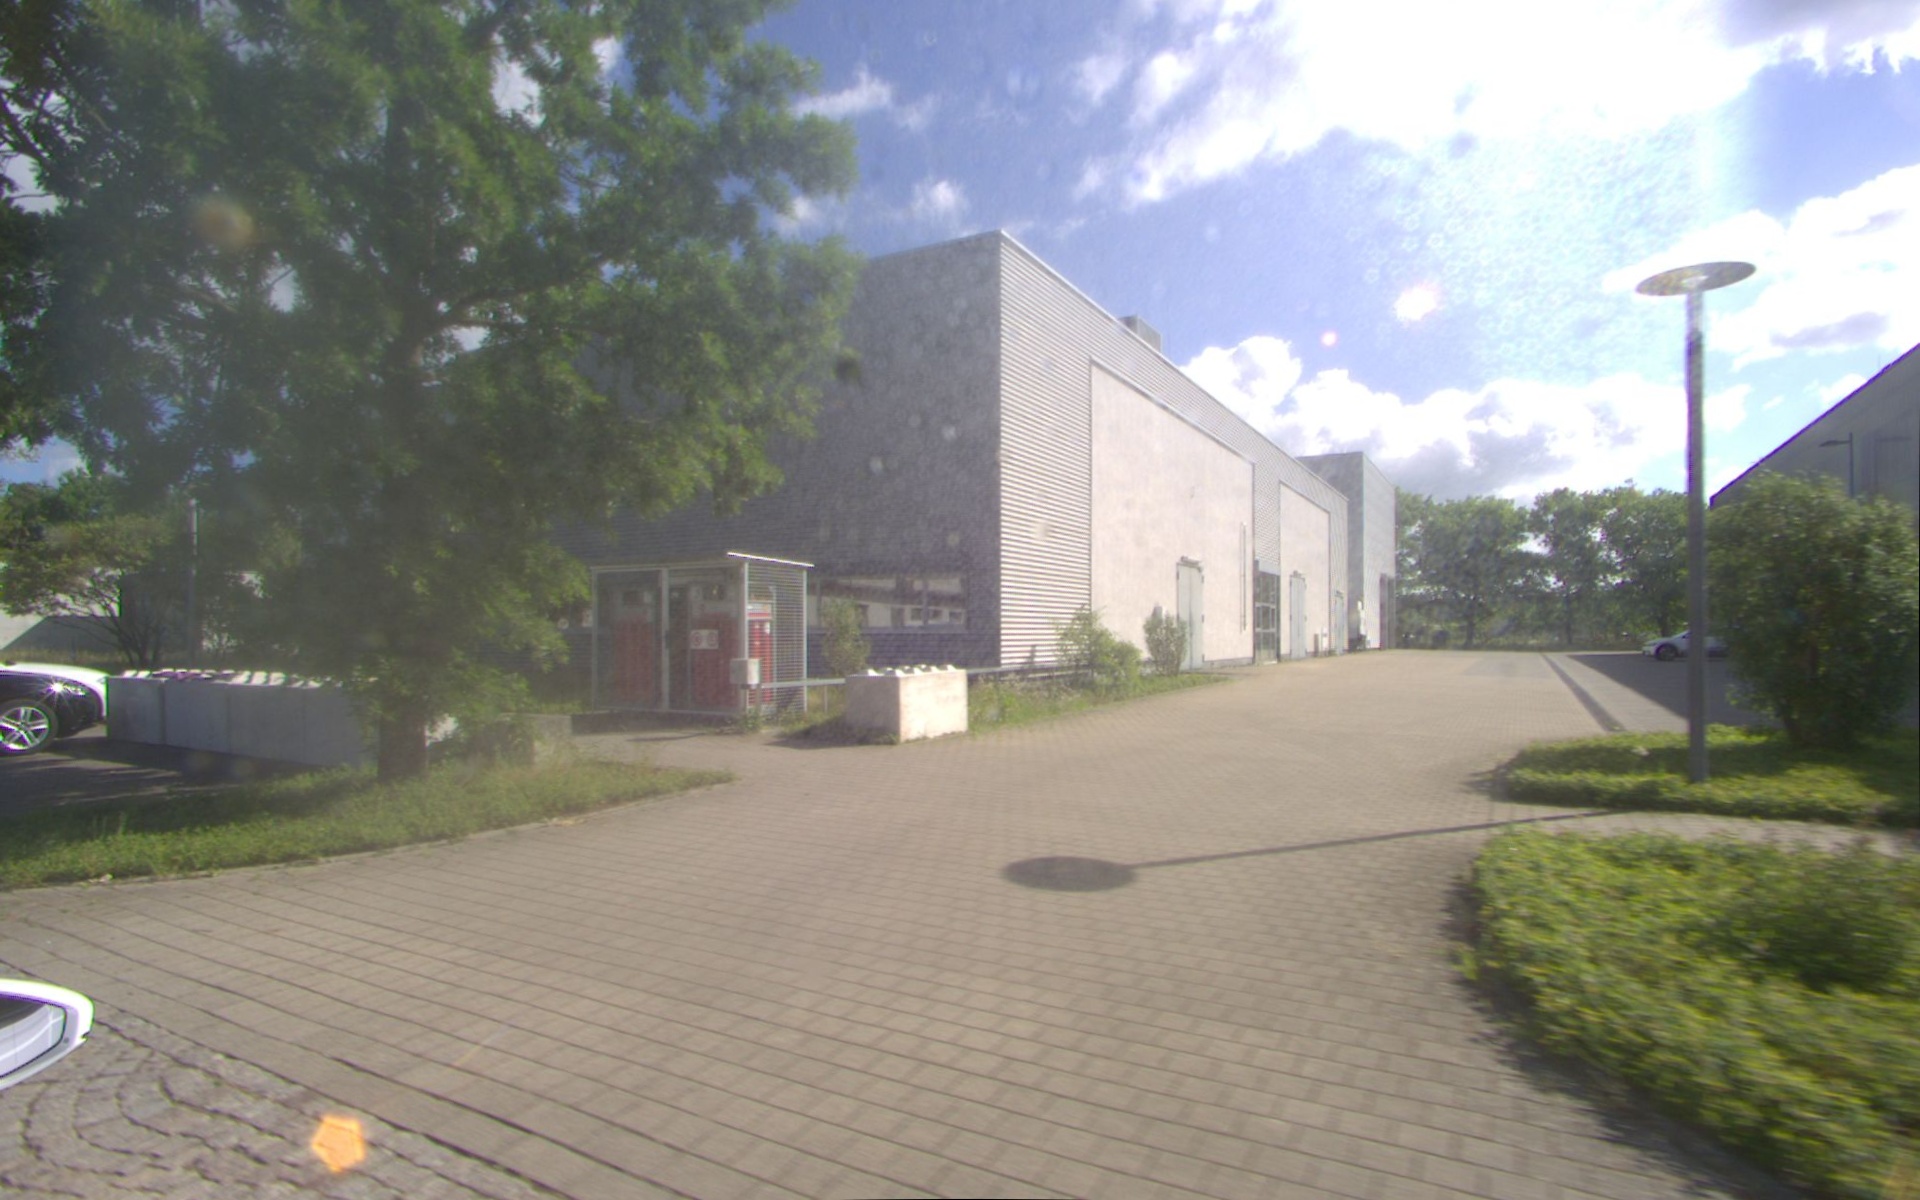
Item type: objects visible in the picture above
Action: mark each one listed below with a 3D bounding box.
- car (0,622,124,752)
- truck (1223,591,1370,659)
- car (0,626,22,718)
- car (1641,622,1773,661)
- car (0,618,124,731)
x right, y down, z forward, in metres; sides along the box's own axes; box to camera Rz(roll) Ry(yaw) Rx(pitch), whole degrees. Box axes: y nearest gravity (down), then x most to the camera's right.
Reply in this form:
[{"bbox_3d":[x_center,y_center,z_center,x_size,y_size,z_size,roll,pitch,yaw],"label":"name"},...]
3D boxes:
[{"bbox_3d":[-12.146,0.998,10.633,1.730,1.442,4.714,-1,0,29],"label":"car"},{"bbox_3d":[20.089,1.540,59.959,7.984,3.866,2.639,-1,-2,31],"label":"truck"},{"bbox_3d":[-16.071,1.103,14.072,1.702,1.390,3.906,-1,0,30],"label":"car"},{"bbox_3d":[33.548,1.849,45.148,4.510,1.684,1.992,-1,-2,29],"label":"car"},{"bbox_3d":[-13.830,1.014,13.112,1.669,1.479,4.126,-1,0,35],"label":"car"}]
